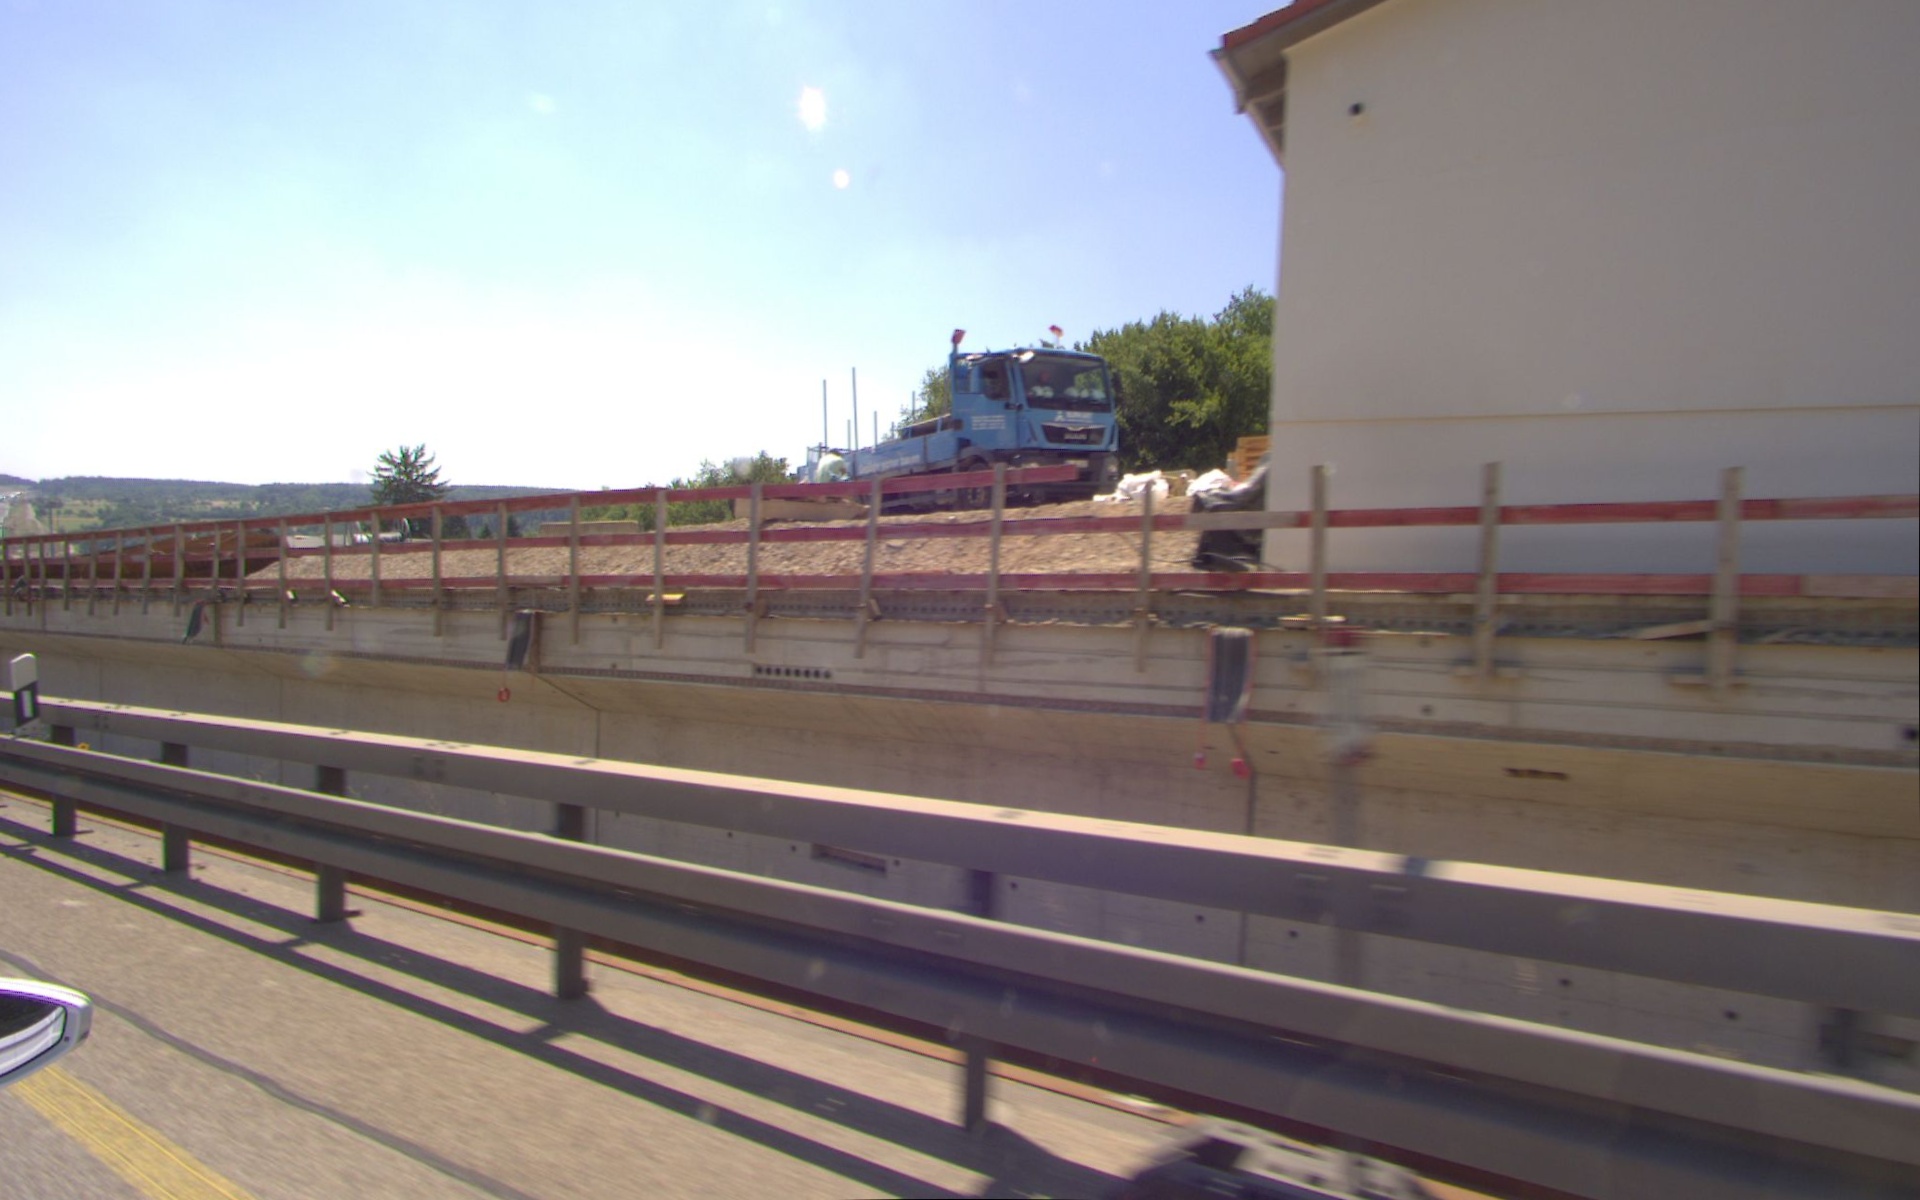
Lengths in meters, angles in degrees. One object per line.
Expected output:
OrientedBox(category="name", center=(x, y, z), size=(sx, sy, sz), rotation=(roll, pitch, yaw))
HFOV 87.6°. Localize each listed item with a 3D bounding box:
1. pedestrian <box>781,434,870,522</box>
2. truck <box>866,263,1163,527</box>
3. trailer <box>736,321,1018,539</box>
OrientedBox(category="pedestrian", center=(-2.142, -1.914, 15.976), size=(0.982, 1.165, 1.016), rotation=(-2, -2, 39))
OrientedBox(category="truck", center=(0.781, -3.452, 18.916), size=(2.684, 3.744, 5.673), rotation=(1, 1, -33))
OrientedBox(category="trailer", center=(-2.390, -3.537, 23.751), size=(2.684, 3.744, 8.936), rotation=(1, 1, -33))
